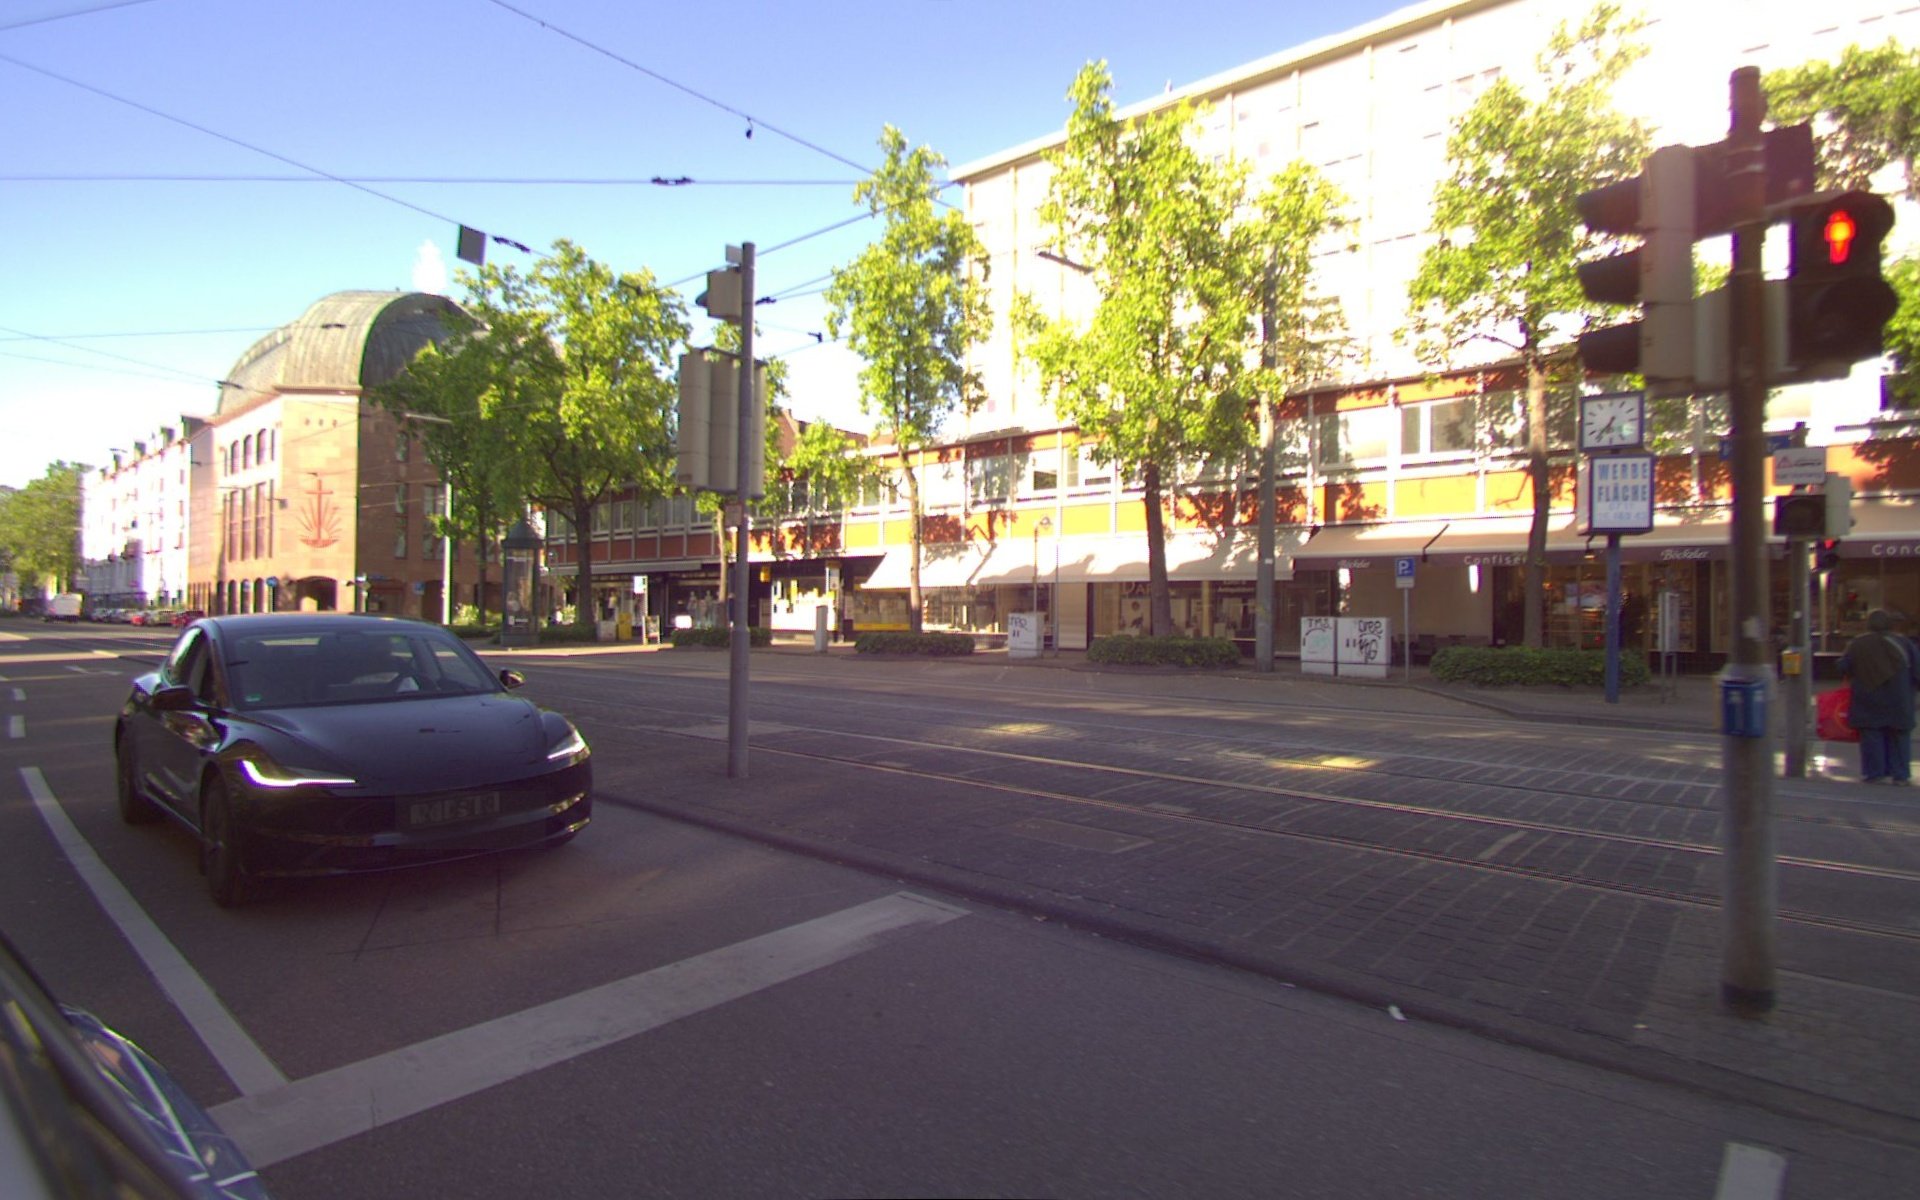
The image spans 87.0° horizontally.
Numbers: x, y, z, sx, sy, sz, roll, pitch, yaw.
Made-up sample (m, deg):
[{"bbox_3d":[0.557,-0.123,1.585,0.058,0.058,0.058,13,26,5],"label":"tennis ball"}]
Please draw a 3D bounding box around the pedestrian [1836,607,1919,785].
[{"bbox_3d":[8.343,0.835,8.964,0.859,1.529,0.494,-1,-4,42],"label":"pedestrian"}]

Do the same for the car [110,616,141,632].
[{"bbox_3d":[-79.734,2.306,96.685,3.853,1.465,1.831,-1,-1,42],"label":"car"}]

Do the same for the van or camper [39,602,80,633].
[{"bbox_3d":[-83.464,1.622,93.802,7.019,2.760,2.014,-1,-3,42],"label":"van or camper"}]

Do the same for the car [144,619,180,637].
[{"bbox_3d":[-67.647,2.324,85.748,3.853,1.465,1.831,-1,-1,42],"label":"car"}]

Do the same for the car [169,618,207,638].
[{"bbox_3d":[-60.314,2.178,79.035,3.469,1.465,1.730,-1,-1,41],"label":"car"}]

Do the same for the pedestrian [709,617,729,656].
[{"bbox_3d":[-11.099,1.661,46.627,0.706,1.785,0.566,-1,-2,43],"label":"pedestrian"}]

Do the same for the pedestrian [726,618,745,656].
[{"bbox_3d":[-10.506,1.716,47.404,0.706,1.764,0.566,-1,-2,43],"label":"pedestrian"}]

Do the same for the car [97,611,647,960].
[{"bbox_3d":[-3.872,0.804,6.329,4.153,1.434,1.791,-1,0,42],"label":"car"}]

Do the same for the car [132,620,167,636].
[{"bbox_3d":[-71.338,2.441,89.014,3.853,1.364,1.831,-1,-1,42],"label":"car"}]
